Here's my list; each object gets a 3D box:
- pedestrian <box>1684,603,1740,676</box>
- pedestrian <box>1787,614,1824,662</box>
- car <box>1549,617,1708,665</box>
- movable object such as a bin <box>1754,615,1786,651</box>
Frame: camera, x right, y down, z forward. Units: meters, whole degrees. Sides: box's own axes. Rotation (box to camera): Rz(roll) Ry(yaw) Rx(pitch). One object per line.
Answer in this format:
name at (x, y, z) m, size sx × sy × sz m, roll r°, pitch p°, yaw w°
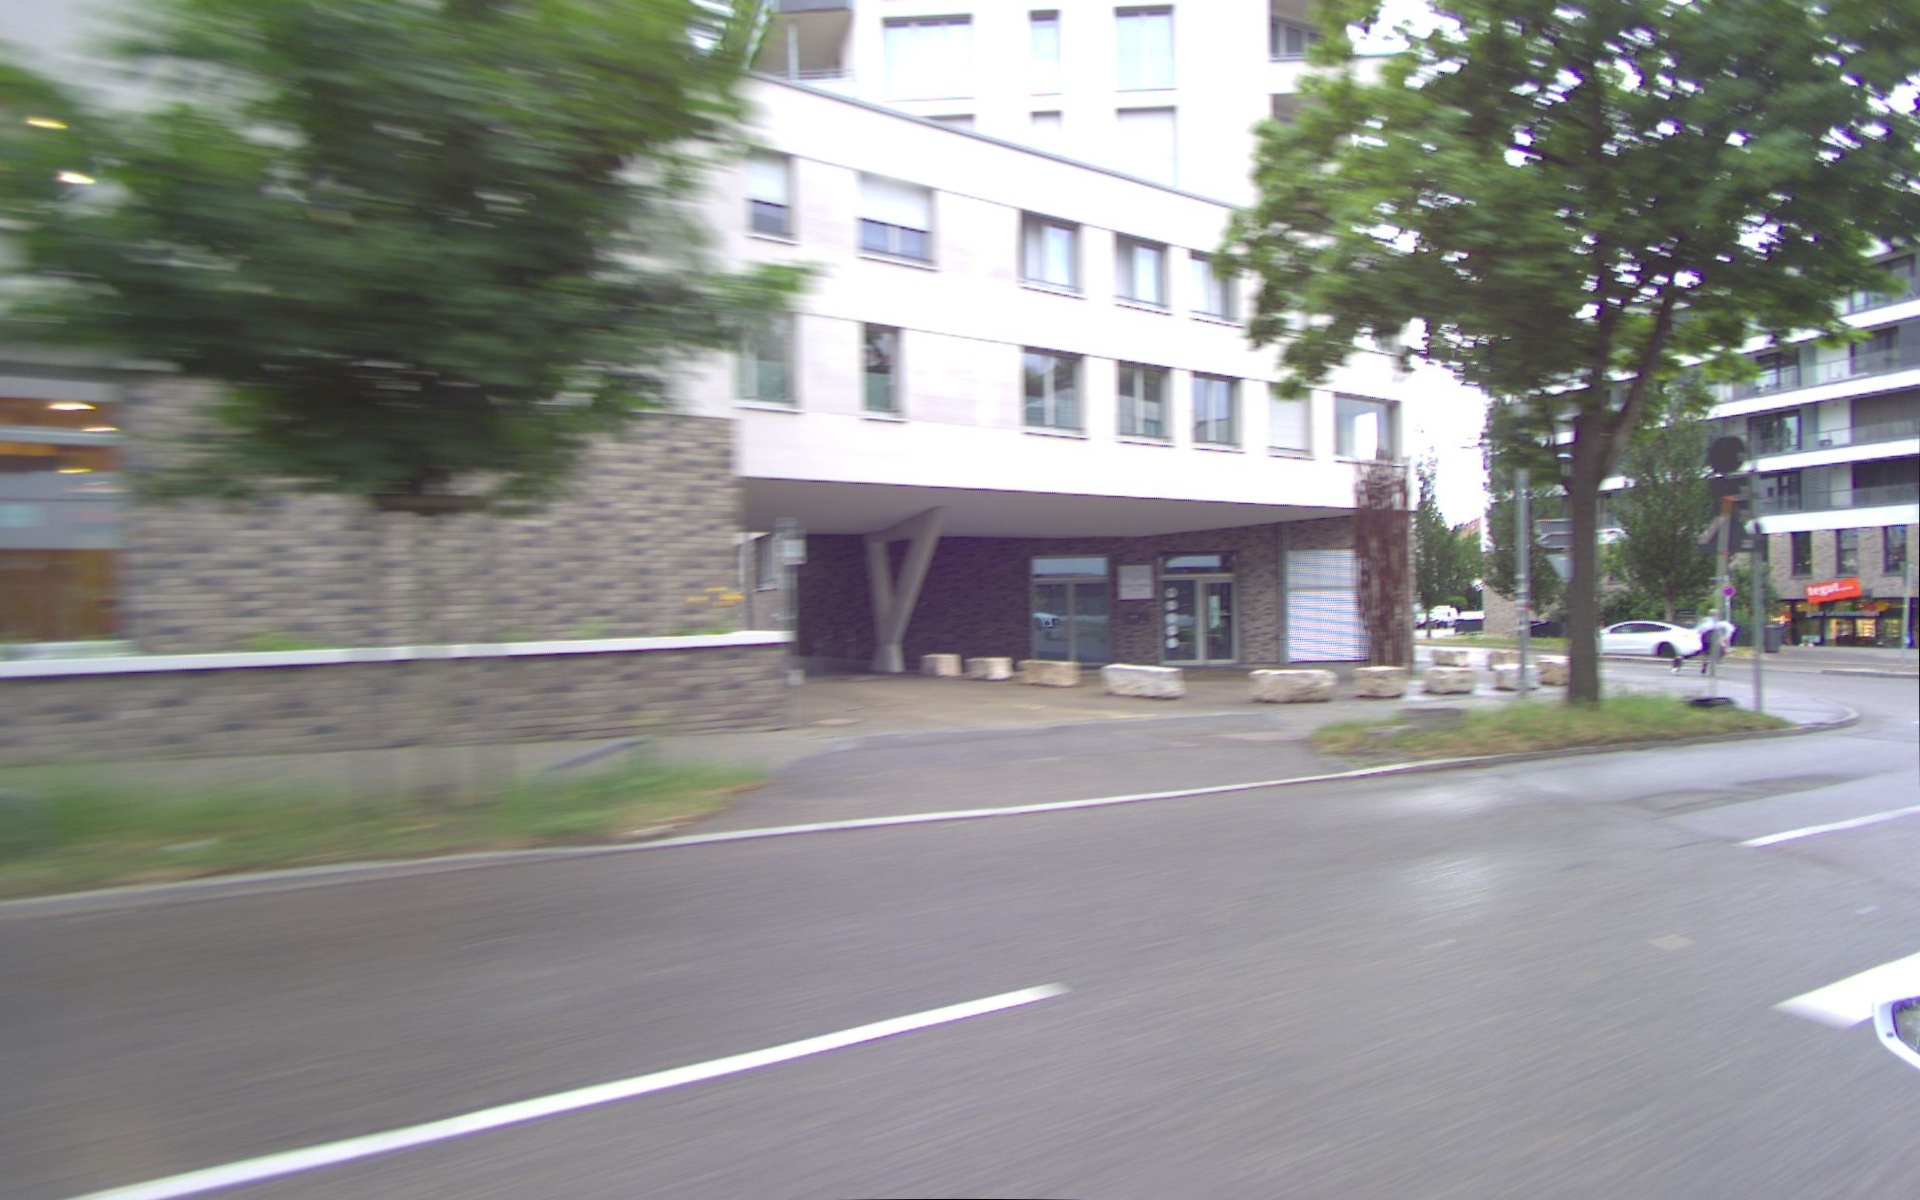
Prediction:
pedestrian at (21.609, 1.133, 28.870) m, size 1.091 × 2.040 × 1.046 m, roll 2°, pitch -1°, yaw -41°
pedestrian at (37.483, 1.675, 44.526) m, size 1.104 × 2.041 × 0.879 m, roll 1°, pitch 1°, yaw -29°
car at (25.941, 1.549, 39.152) m, size 2.042 × 1.683 × 4.775 m, roll 2°, pitch -1°, yaw -34°
movable object such as a bin at (31.620, 1.295, 39.212) m, size 0.811 × 1.381 × 0.713 m, roll 1°, pitch 0°, yaw -27°
